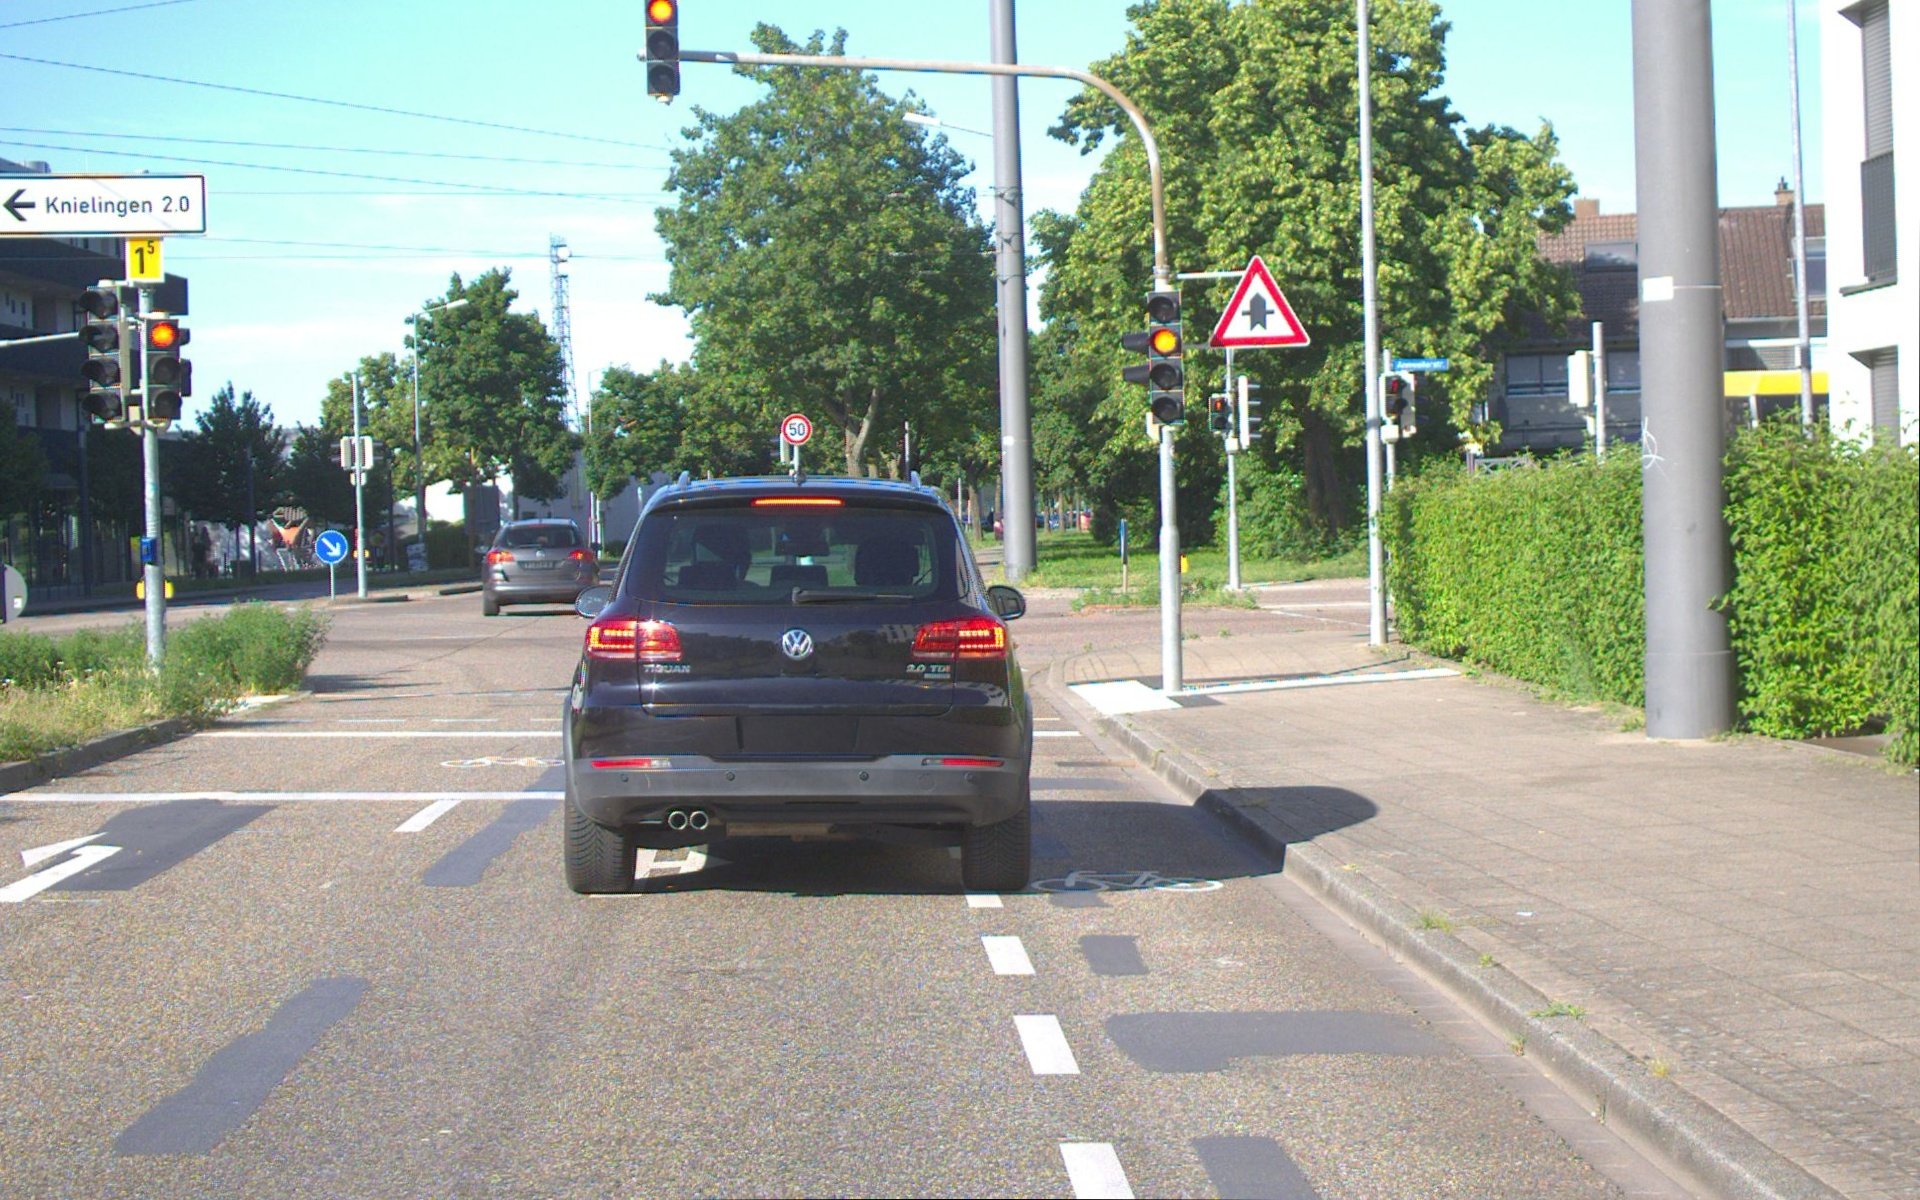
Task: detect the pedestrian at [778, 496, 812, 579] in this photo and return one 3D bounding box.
[{"bbox_3d":[-3.269,-1.244,68.169,0.603,1.634,0.529,0,2,3],"label":"pedestrian"}]

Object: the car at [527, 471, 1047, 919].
[{"bbox_3d":[-0.732,0.292,14.697,1.905,1.637,4.001,-1,2,-3],"label":"car"}]

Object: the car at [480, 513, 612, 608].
[{"bbox_3d":[-6.380,-0.640,53.306,1.751,1.382,4.001,-1,2,-3],"label":"car"}]

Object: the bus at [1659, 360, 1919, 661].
[{"bbox_3d":[16.532,-1.217,44.508,14.630,3.658,2.849,-1,2,-10],"label":"bus"}]
